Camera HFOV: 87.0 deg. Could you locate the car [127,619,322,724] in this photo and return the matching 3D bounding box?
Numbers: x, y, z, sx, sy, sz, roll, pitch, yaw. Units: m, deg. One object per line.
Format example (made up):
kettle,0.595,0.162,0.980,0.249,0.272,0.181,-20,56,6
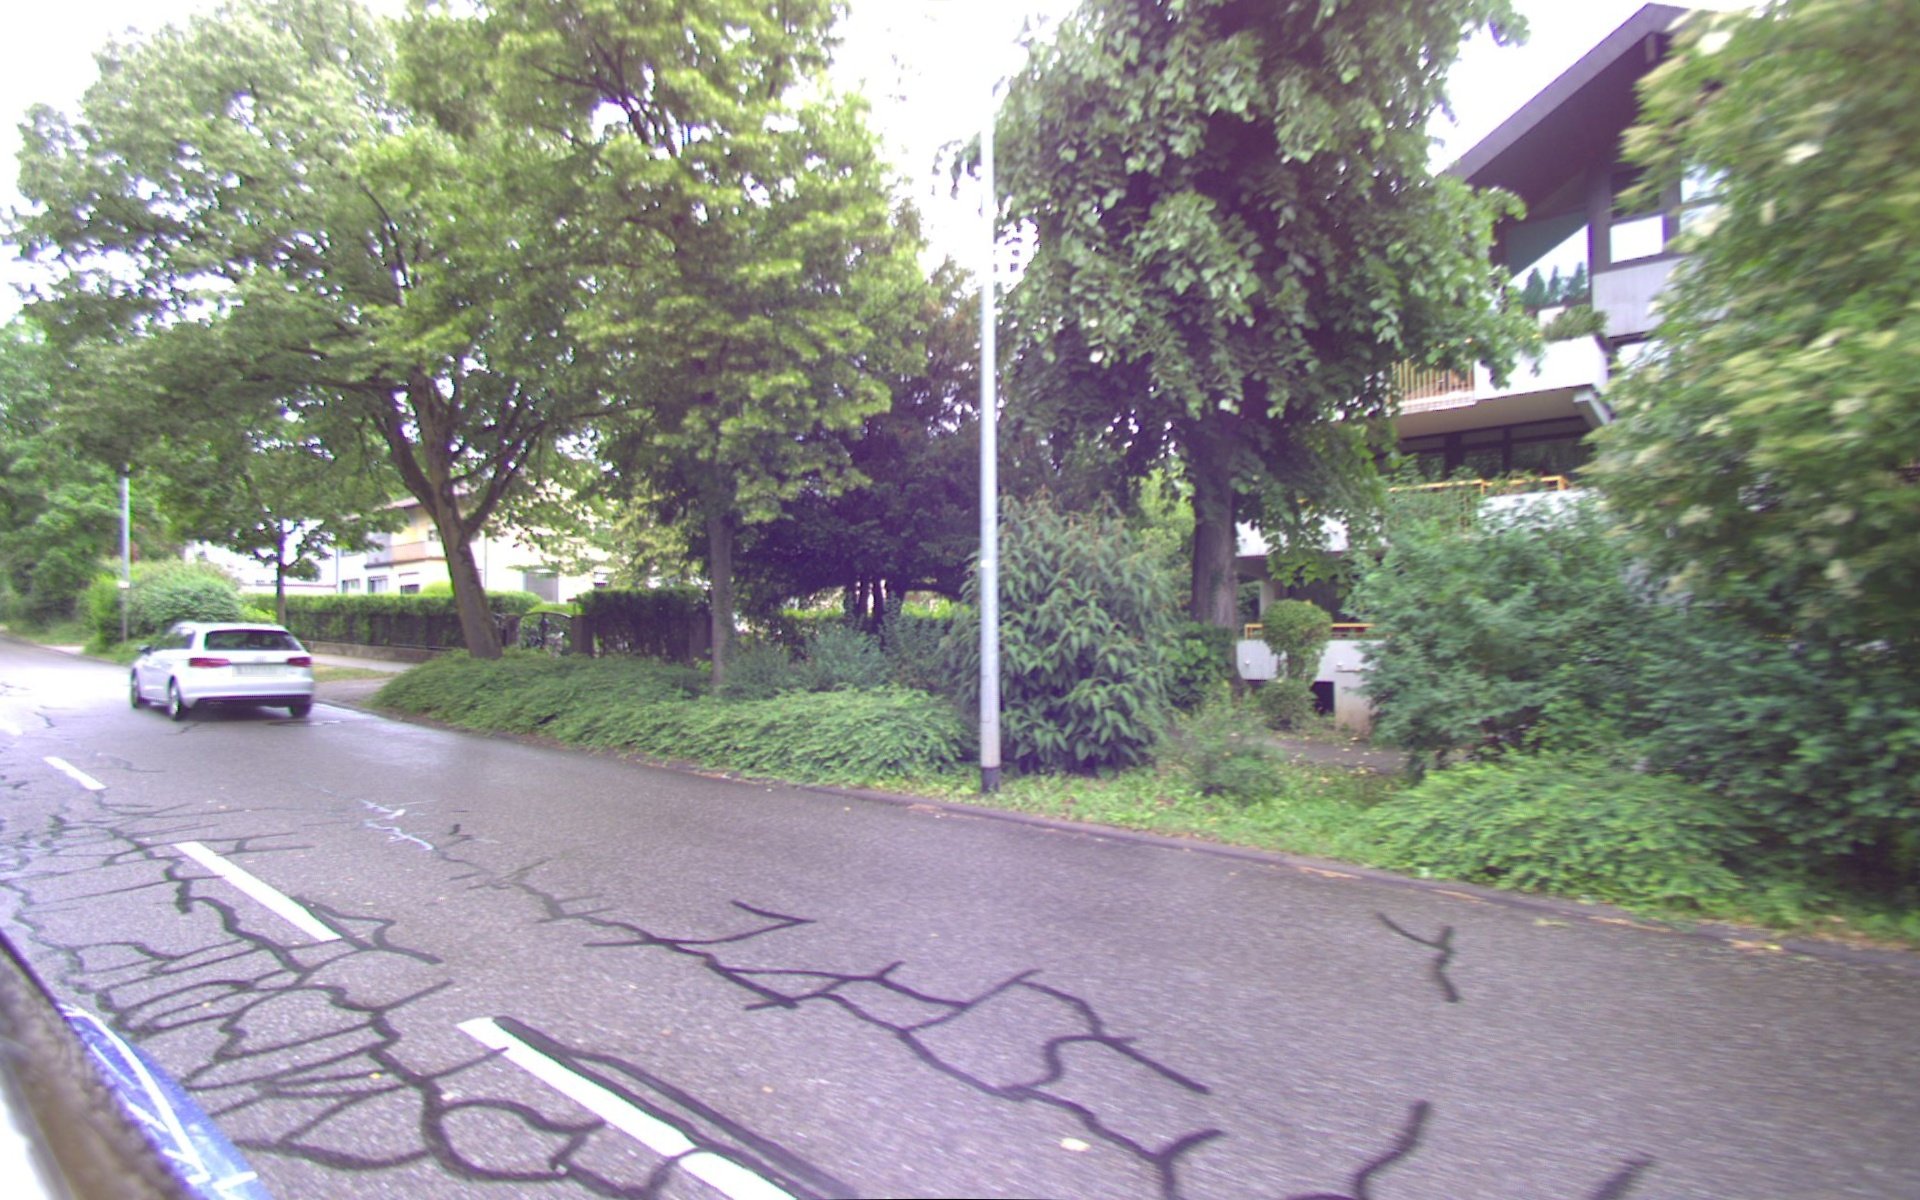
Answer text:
car,-11.550,1.065,15.802,4.006,1.438,1.591,-2,-3,41
